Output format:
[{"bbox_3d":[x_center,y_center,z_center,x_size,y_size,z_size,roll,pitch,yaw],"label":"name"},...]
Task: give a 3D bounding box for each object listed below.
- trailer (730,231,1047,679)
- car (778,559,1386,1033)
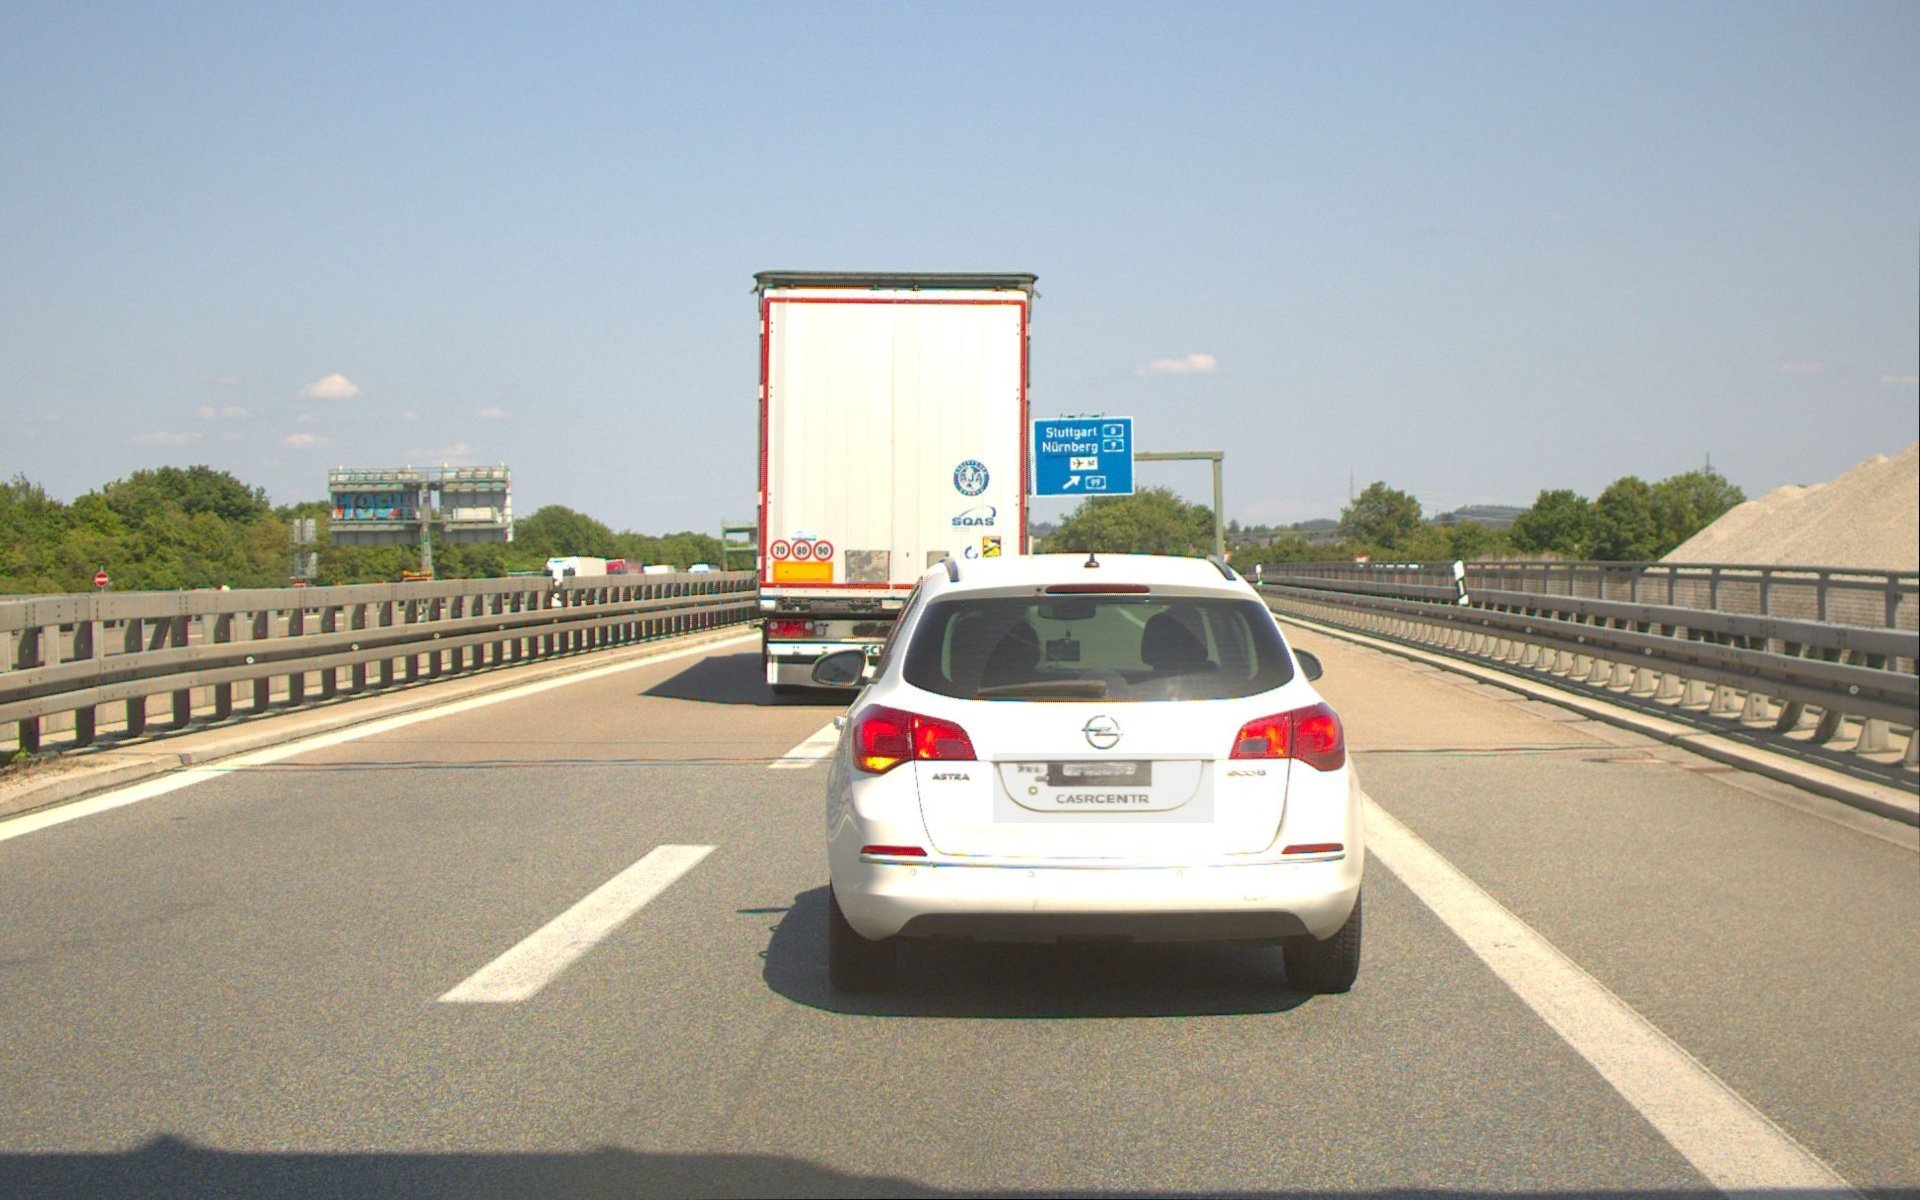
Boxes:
[{"bbox_3d":[-0.757,-1.332,37.484,2.912,4.131,11.258,0,0,-1],"label":"trailer"},{"bbox_3d":[0.436,0.572,12.676,1.854,1.438,4.372,0,1,2],"label":"car"}]
